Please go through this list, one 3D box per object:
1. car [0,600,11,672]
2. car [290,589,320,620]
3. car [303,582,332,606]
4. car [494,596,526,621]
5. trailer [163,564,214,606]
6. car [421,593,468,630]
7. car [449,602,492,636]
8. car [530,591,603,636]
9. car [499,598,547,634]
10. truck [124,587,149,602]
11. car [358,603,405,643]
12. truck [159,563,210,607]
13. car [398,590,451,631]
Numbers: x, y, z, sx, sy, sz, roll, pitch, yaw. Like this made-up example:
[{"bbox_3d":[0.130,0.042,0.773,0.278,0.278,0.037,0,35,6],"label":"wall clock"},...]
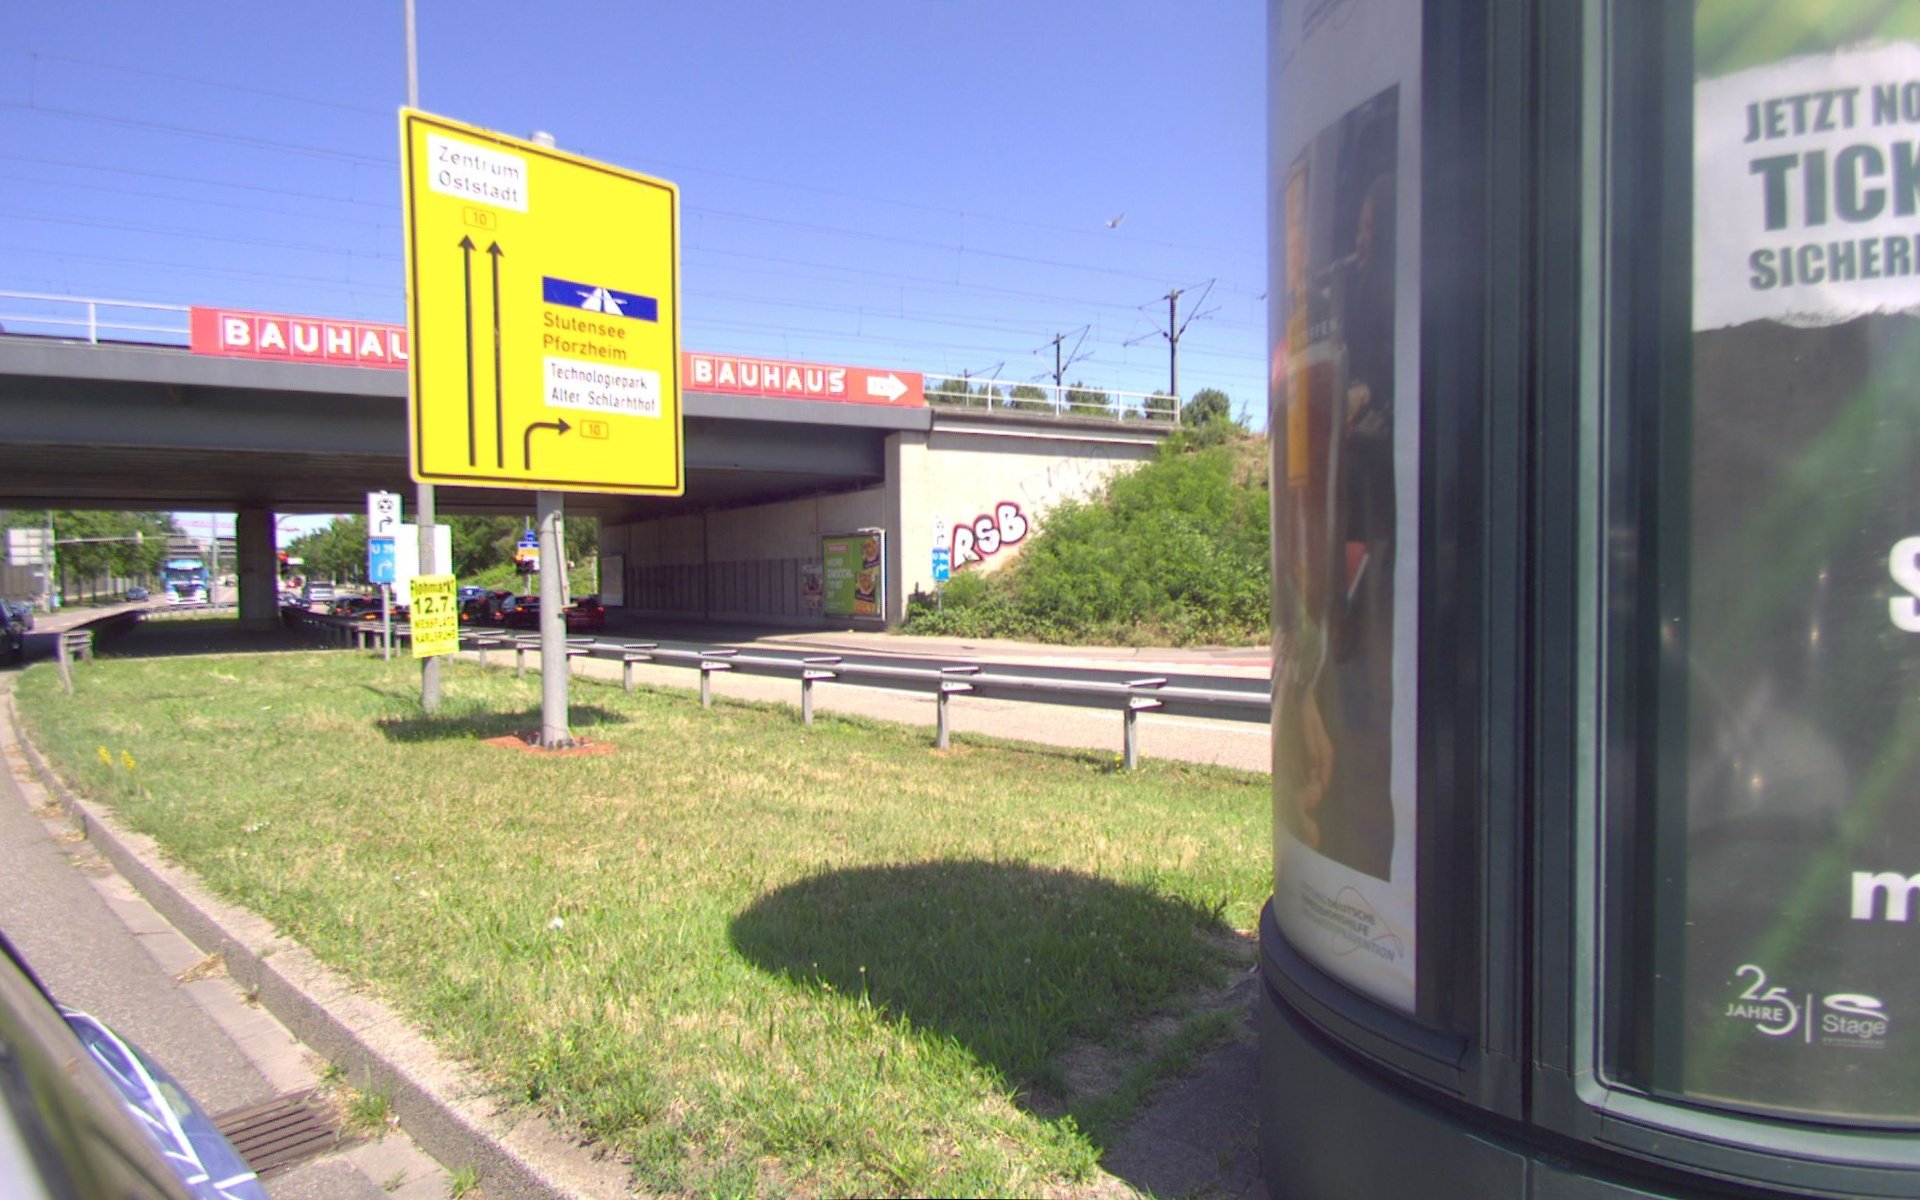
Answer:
[{"bbox_3d":[-24.809,0.880,25.093,1.819,1.708,3.703,-1,1,-43],"label":"car"},{"bbox_3d":[-44.067,0.278,68.113,1.651,2.029,4.011,-1,1,-33],"label":"car"},{"bbox_3d":[-55.056,-0.525,86.721,1.966,2.029,4.011,-1,1,-33],"label":"car"},{"bbox_3d":[-22.789,0.414,51.225,1.166,1.257,2.700,-1,1,-30],"label":"car"},{"bbox_3d":[-67.223,-1.219,88.410,2.916,3.398,13.929,-1,1,-35],"label":"trailer"},{"bbox_3d":[-22.156,0.471,43.432,1.593,1.487,3.443,-1,1,-30],"label":"car"},{"bbox_3d":[-18.709,0.703,38.628,1.250,1.194,2.786,-1,1,-30],"label":"car"},{"bbox_3d":[-15.692,0.504,40.249,1.748,1.680,4.024,-1,1,-36],"label":"car"},{"bbox_3d":[-19.350,0.680,44.718,1.548,1.514,3.417,-1,1,-30],"label":"car"},{"bbox_3d":[-85.663,-0.568,105.303,1.703,1.513,4.010,-1,1,-35],"label":"truck"},{"bbox_3d":[-20.628,0.774,36.036,1.389,1.329,3.271,-1,1,-31],"label":"car"},{"bbox_3d":[-63.376,-1.203,82.821,2.973,3.443,6.583,-1,1,-35],"label":"truck"},{"bbox_3d":[-26.119,0.494,49.284,1.876,1.874,4.011,-1,1,-34],"label":"car"}]
